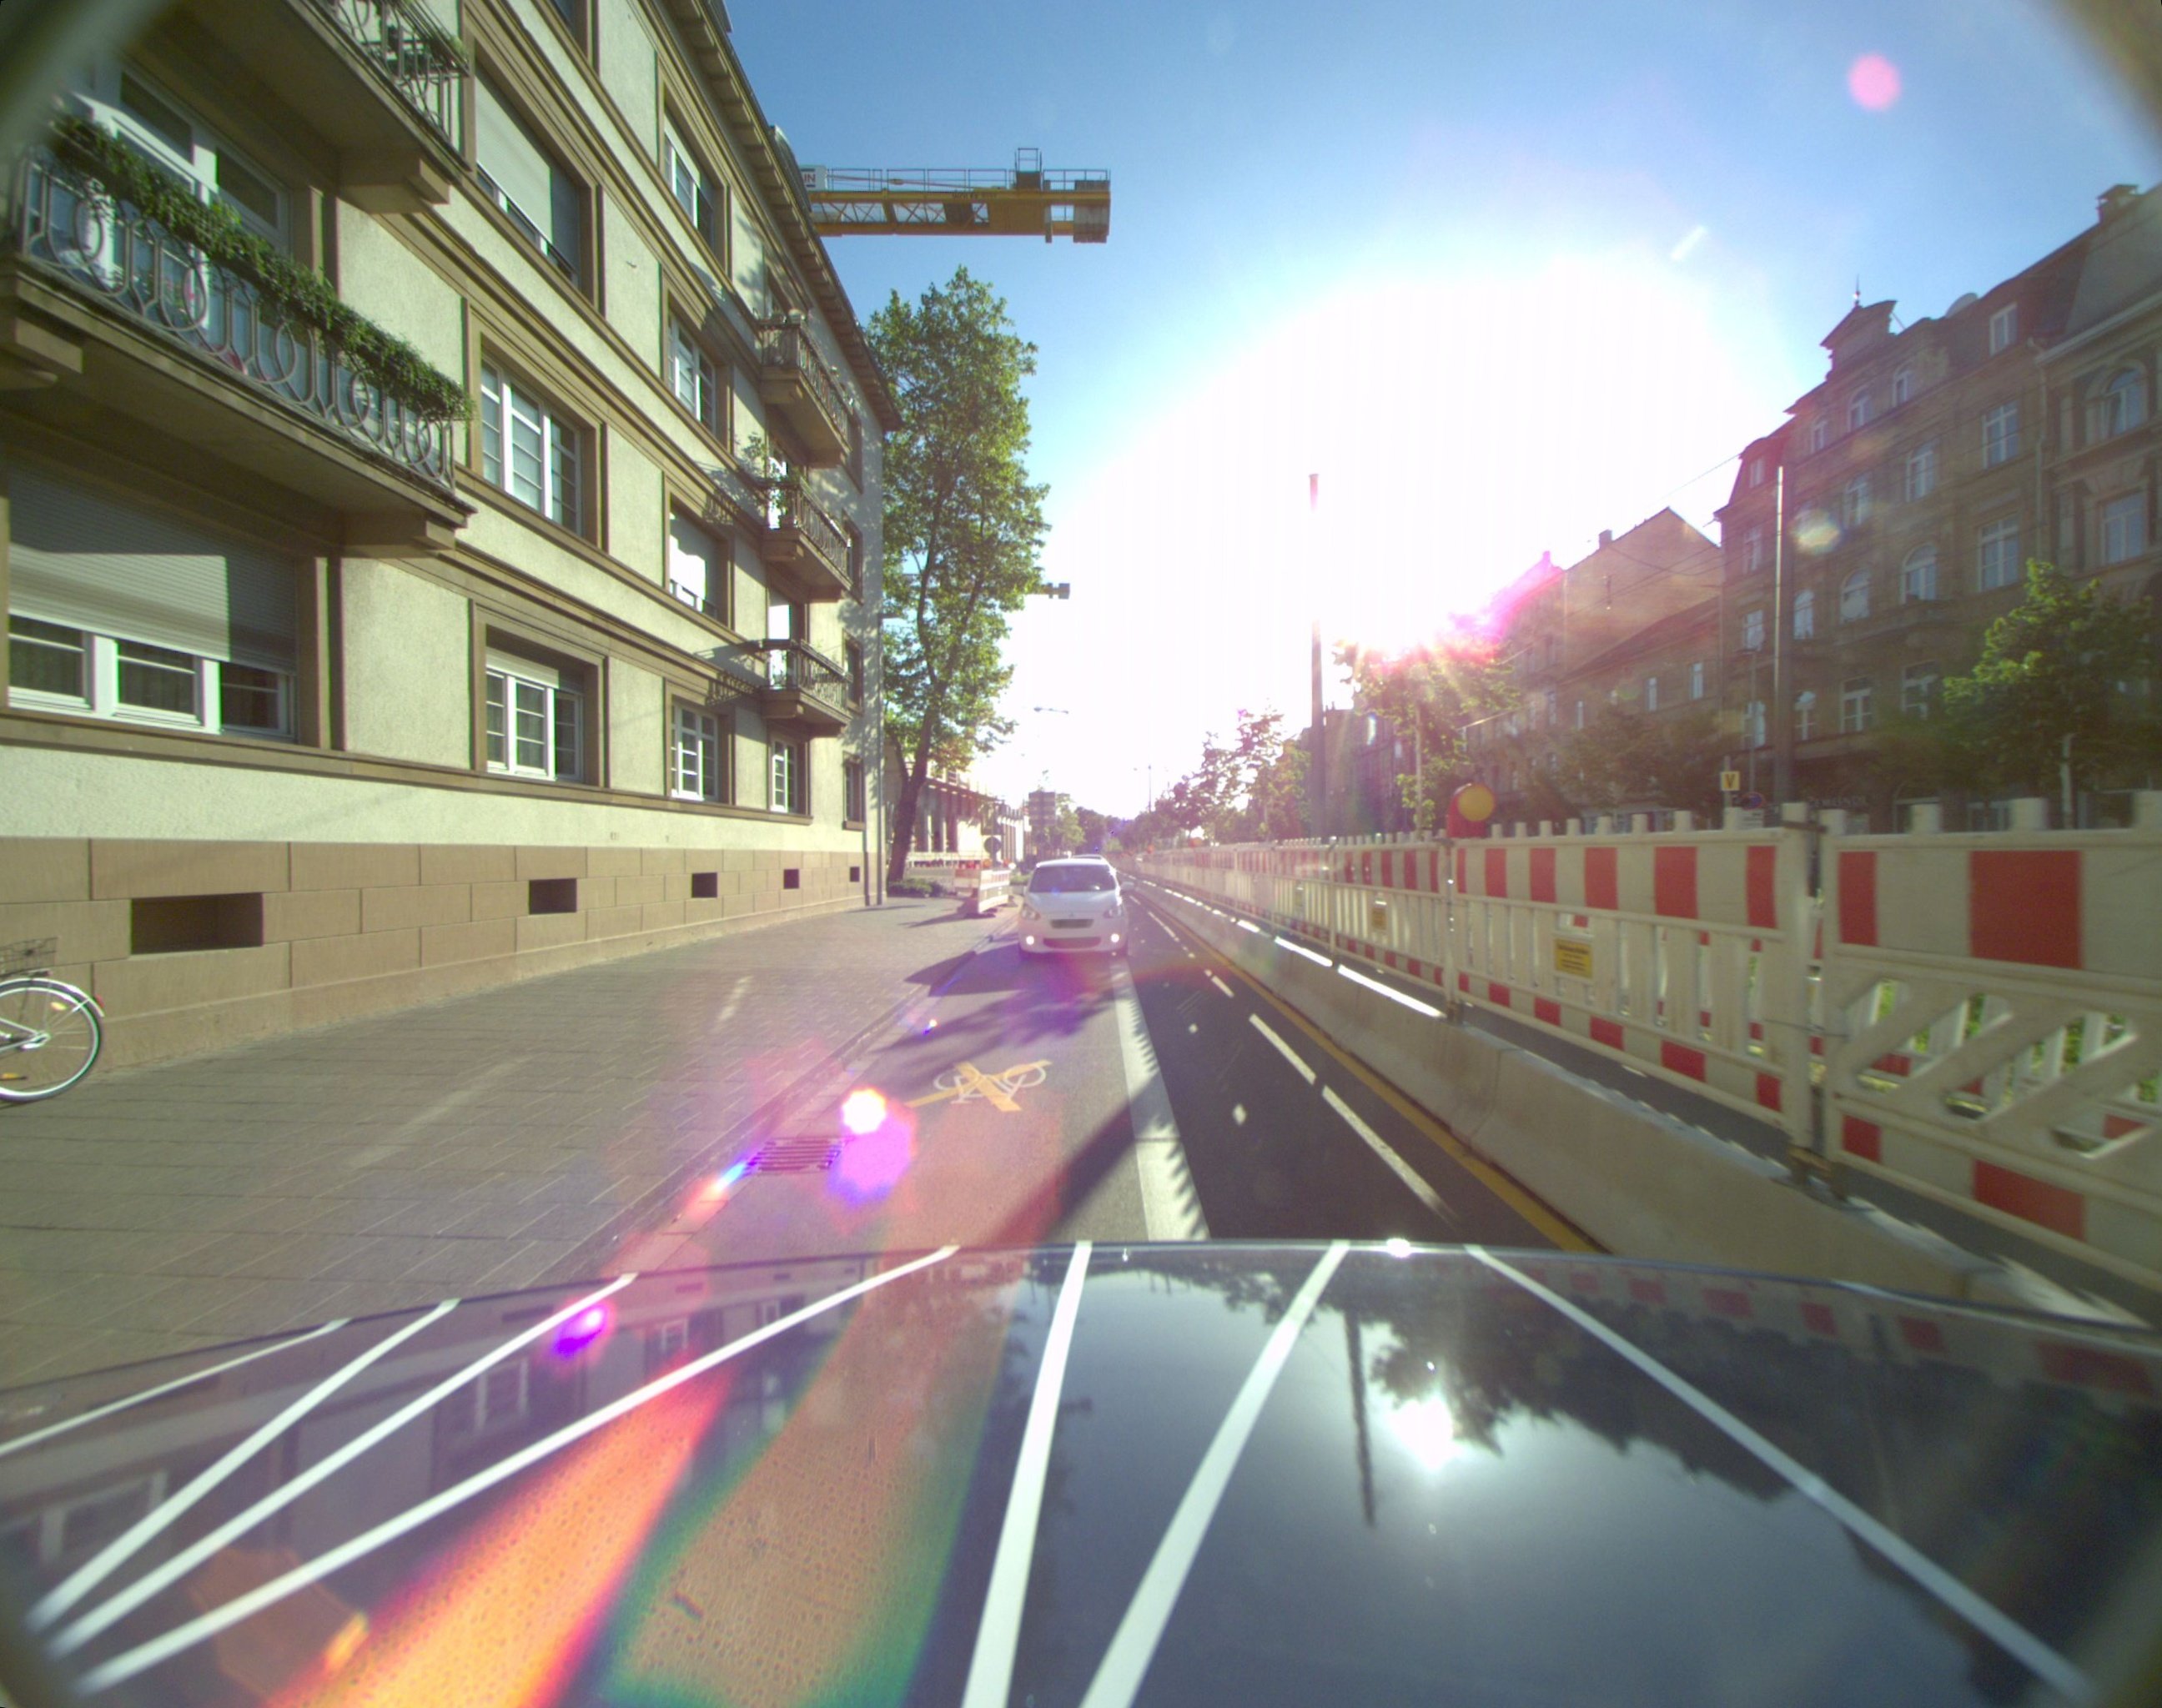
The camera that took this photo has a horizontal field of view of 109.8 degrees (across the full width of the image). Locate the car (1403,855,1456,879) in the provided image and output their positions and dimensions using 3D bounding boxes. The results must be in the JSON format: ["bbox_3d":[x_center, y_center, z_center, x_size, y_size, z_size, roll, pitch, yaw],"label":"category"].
[{"bbox_3d":[23.533,0.851,51.478,1.753,1.470,4.028,-3,0,1],"label":"car"}]

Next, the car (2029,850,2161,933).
[{"bbox_3d":[23.604,0.789,15.899,1.943,1.648,4.545,-3,0,3],"label":"car"}]

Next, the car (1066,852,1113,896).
[{"bbox_3d":[0.382,0.840,34.132,1.899,1.730,4.000,-4,0,1],"label":"car"}]

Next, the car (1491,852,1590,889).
[{"bbox_3d":[23.142,0.769,38.520,1.998,1.688,4.888,-3,0,0],"label":"car"}]

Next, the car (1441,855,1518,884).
[{"bbox_3d":[23.356,0.866,44.794,1.998,1.529,4.985,-3,0,1],"label":"car"}]

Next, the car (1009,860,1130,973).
[{"bbox_3d":[-0.106,0.899,12.885,1.634,1.499,4.351,-3,0,1],"label":"car"}]

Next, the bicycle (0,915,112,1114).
[{"bbox_3d":[-6.383,0.938,3.713,0.419,1.089,2.198,0,0,1],"label":"bicycle"}]
